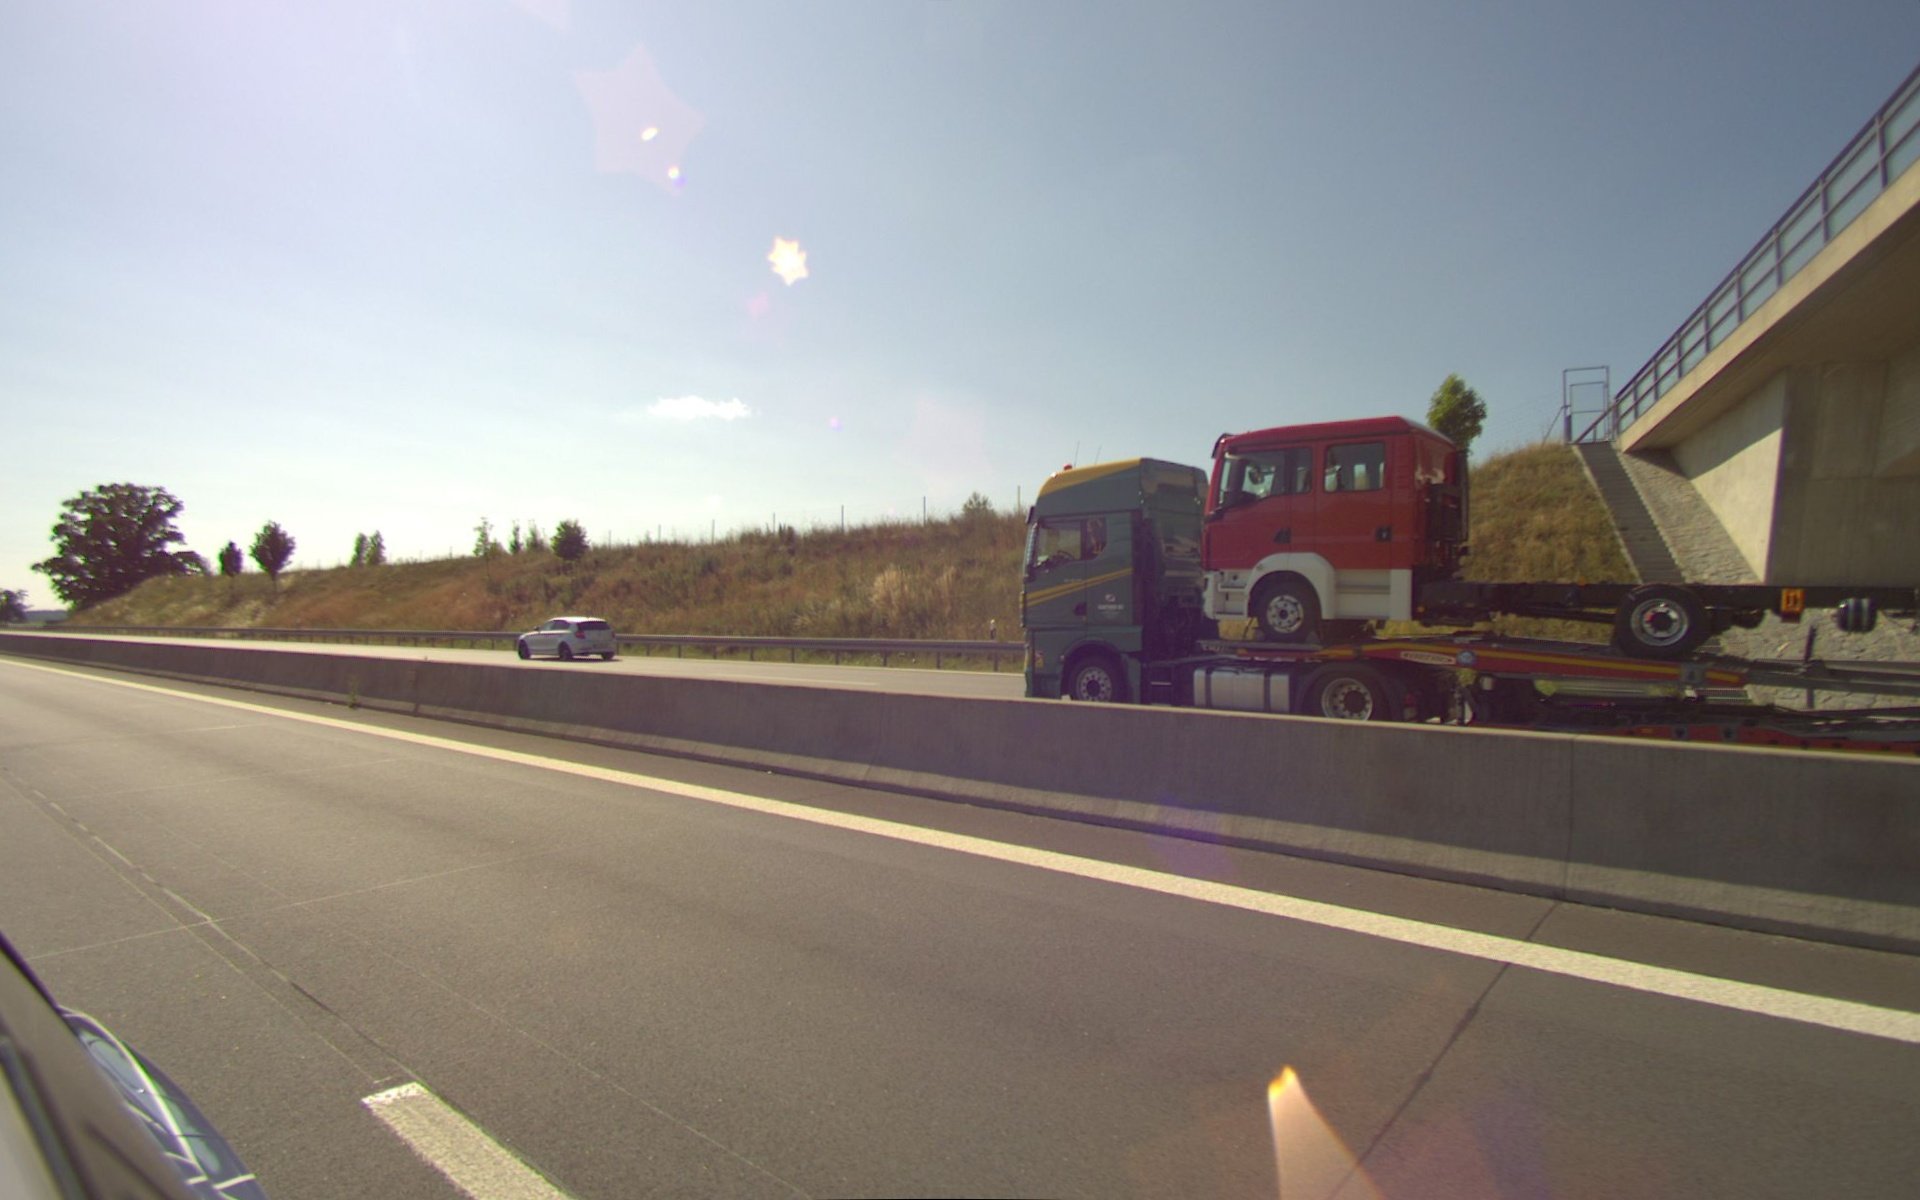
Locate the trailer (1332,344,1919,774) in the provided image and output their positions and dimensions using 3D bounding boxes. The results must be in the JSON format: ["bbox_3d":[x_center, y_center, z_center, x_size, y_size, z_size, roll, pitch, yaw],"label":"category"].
[{"bbox_3d":[10.242,-0.367,8.625,13.231,3.685,2.637,-1,-1,42],"label":"trailer"}]

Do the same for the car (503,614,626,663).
[{"bbox_3d":[-13.312,1.249,33.950,4.564,1.542,1.843,-1,-1,39],"label":"car"}]

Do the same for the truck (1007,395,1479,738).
[{"bbox_3d":[3.791,-0.333,14.331,5.828,3.861,2.706,-1,-1,41],"label":"truck"}]
